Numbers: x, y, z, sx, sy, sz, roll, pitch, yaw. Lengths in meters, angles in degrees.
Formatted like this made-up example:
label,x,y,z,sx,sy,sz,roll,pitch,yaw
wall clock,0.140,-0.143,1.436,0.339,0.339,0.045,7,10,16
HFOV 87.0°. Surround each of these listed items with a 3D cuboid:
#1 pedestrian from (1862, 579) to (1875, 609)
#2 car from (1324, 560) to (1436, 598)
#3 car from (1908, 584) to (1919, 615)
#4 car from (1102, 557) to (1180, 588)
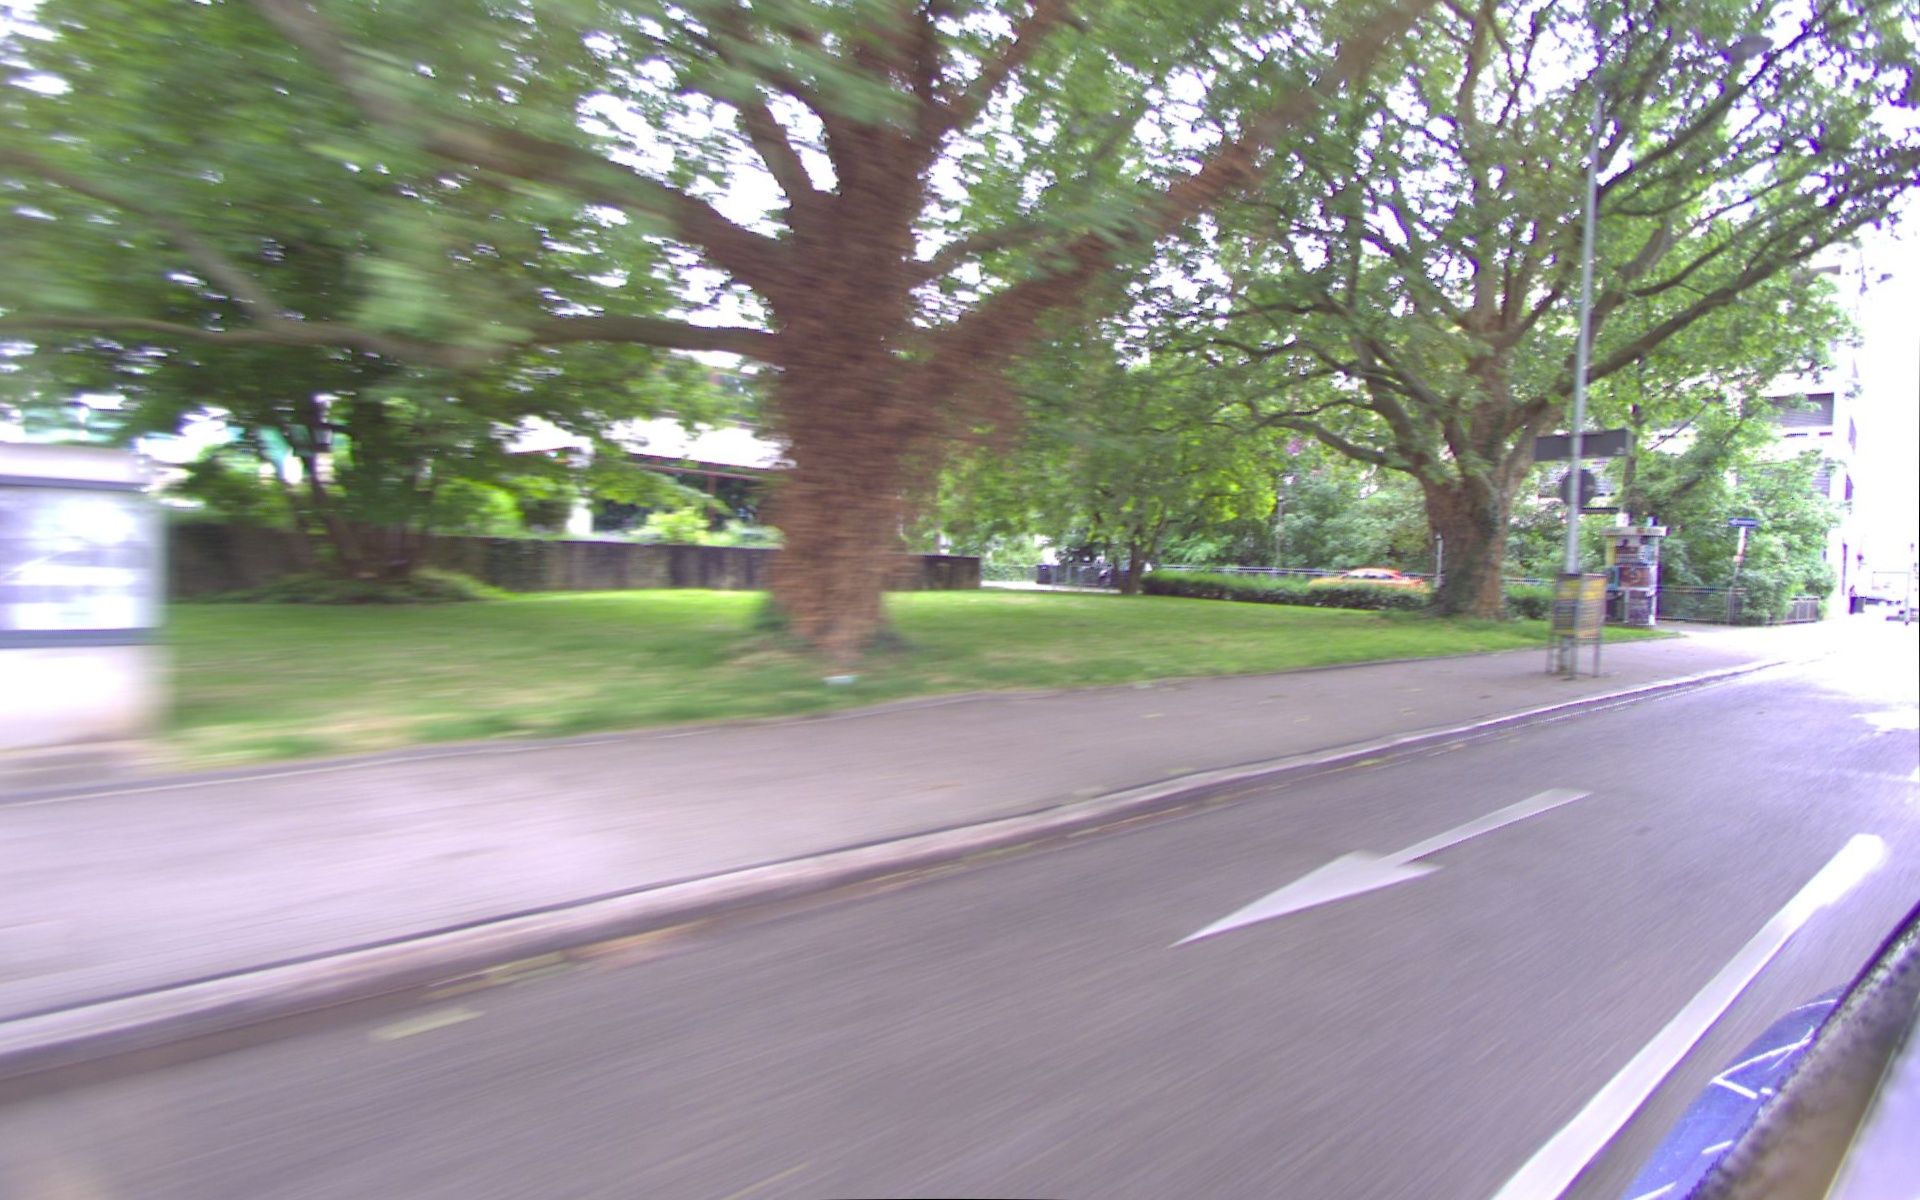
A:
label,x,y,z,sx,sy,sz,roll,pitch,yaw
pedestrian,48.031,-0.321,53.510,0.473,1.549,0.480,-1,0,-41
car,16.636,-0.852,40.218,1.551,1.293,3.783,-1,4,-44
car,49.069,0.031,50.811,3.618,1.449,1.681,0,6,-42
car,8.605,-1.321,48.271,3.459,1.293,1.426,5,4,44
